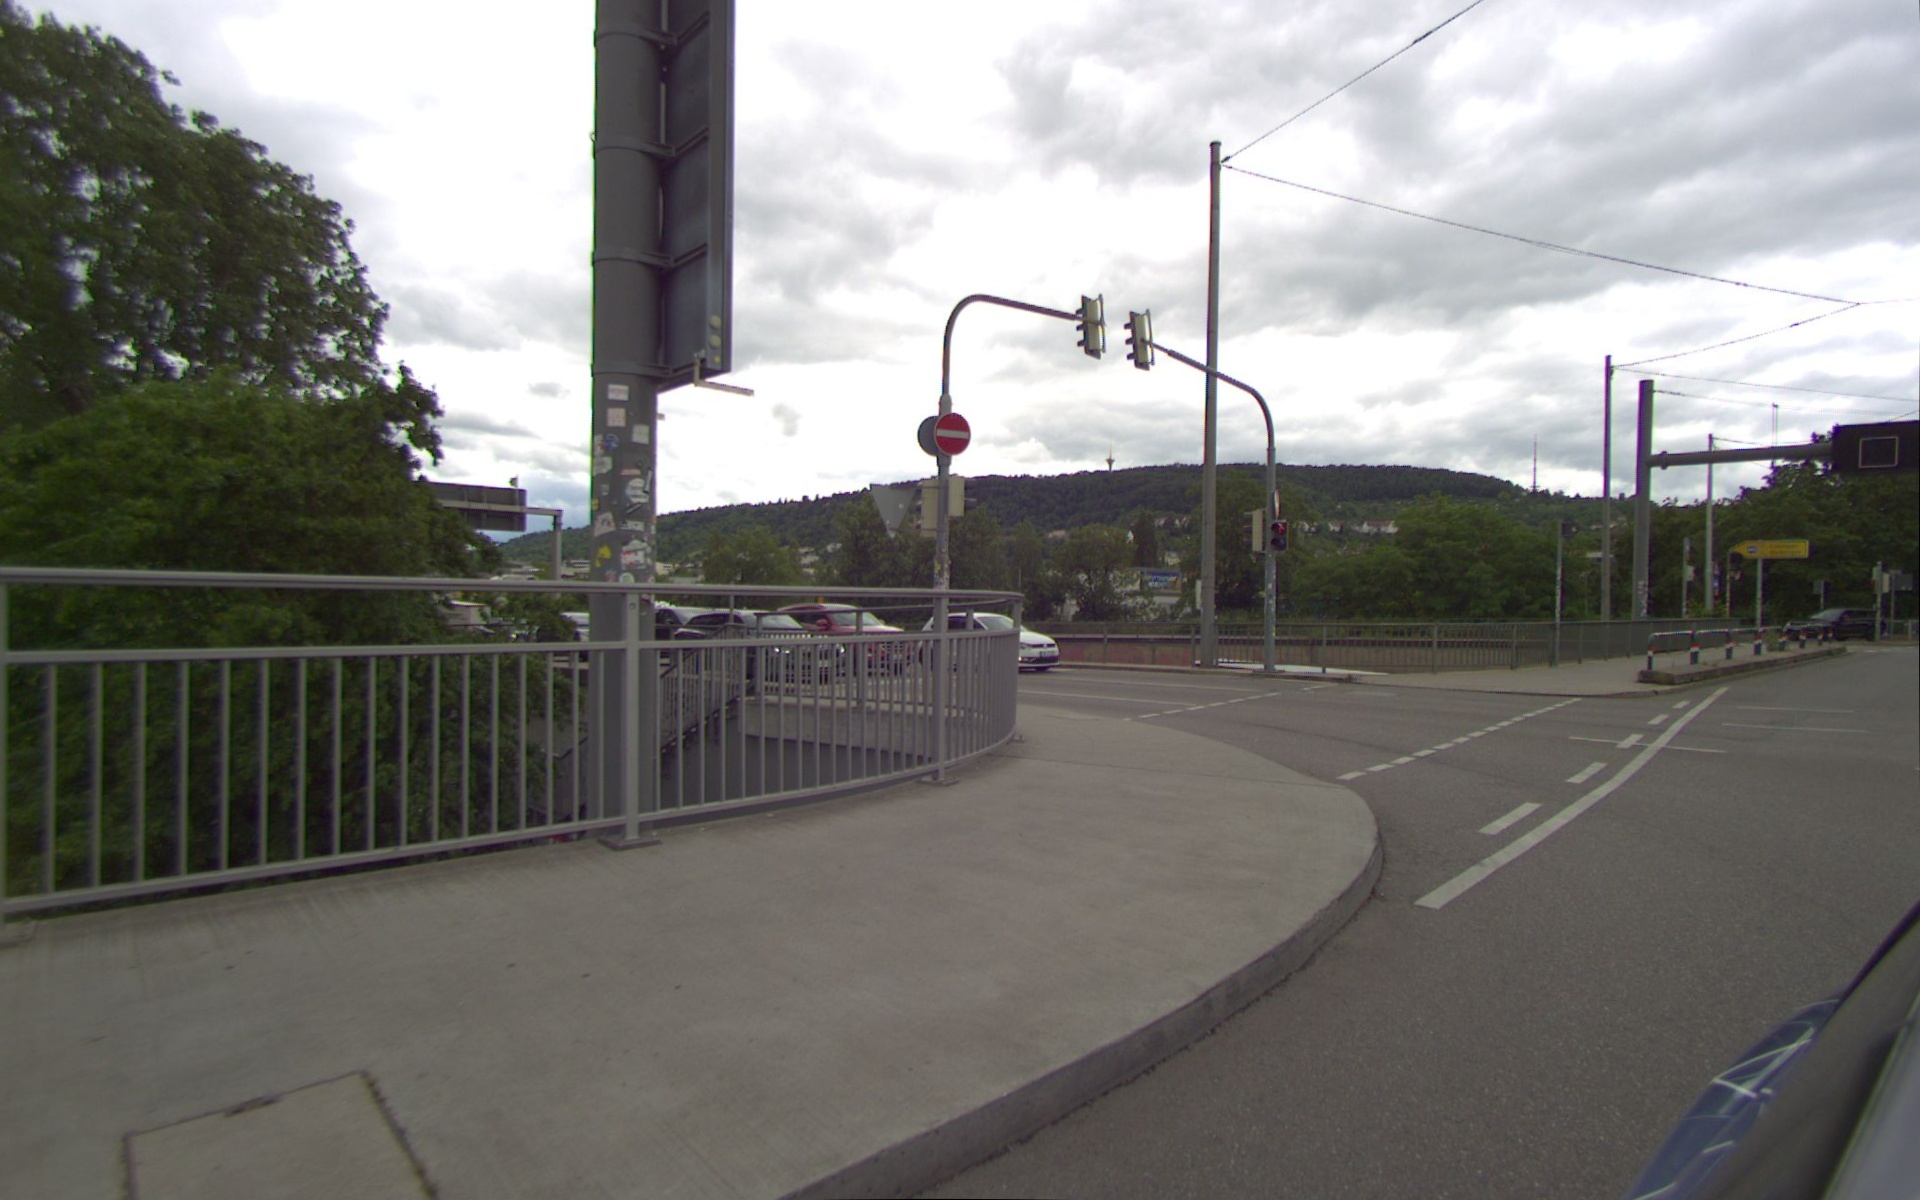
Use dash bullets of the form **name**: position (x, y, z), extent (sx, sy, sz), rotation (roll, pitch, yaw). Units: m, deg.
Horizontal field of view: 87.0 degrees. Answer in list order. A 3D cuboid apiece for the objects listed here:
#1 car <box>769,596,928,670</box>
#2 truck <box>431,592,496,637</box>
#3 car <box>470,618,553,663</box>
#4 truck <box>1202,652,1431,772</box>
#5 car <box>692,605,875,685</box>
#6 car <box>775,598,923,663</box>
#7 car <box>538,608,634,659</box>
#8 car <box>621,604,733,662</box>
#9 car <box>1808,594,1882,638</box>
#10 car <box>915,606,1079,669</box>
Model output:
- **car**: position (-2.710, 0.745, 23.974), extent (1.668, 1.559, 3.998), rotation (-2, 0, -43)
- **truck**: position (-61.099, 1.659, 124.245), extent (3.528, 4.541, 13.157), rotation (1, 3, -43)
- **car**: position (-16.716, 1.473, 37.617), extent (1.668, 1.559, 3.750), rotation (-1, -1, -43)
- **truck**: position (16.438, 4.983, 47.478), extent (2.855, 4.234, 10.005), rotation (-3, 3, -42)
- **car**: position (-3.730, 0.869, 20.894), extent (1.668, 1.438, 4.142), rotation (-2, 0, -44)
- **car**: position (-3.201, 0.822, 28.512), extent (1.966, 1.640, 4.333), rotation (-2, 0, -42)
- **car**: position (-12.474, 1.090, 33.684), extent (1.668, 1.559, 3.750), rotation (-1, -1, -43)
- **car**: position (-8.285, 0.931, 29.469), extent (1.668, 1.559, 3.614), rotation (-1, -1, -43)
- **car**: position (46.543, 0.797, 53.211), extent (4.865, 1.939, 2.329), rotation (-3, 4, -42)
- **car**: position (0.825, 0.864, 24.284), extent (1.761, 1.330, 3.755), rotation (-2, 0, -43)
